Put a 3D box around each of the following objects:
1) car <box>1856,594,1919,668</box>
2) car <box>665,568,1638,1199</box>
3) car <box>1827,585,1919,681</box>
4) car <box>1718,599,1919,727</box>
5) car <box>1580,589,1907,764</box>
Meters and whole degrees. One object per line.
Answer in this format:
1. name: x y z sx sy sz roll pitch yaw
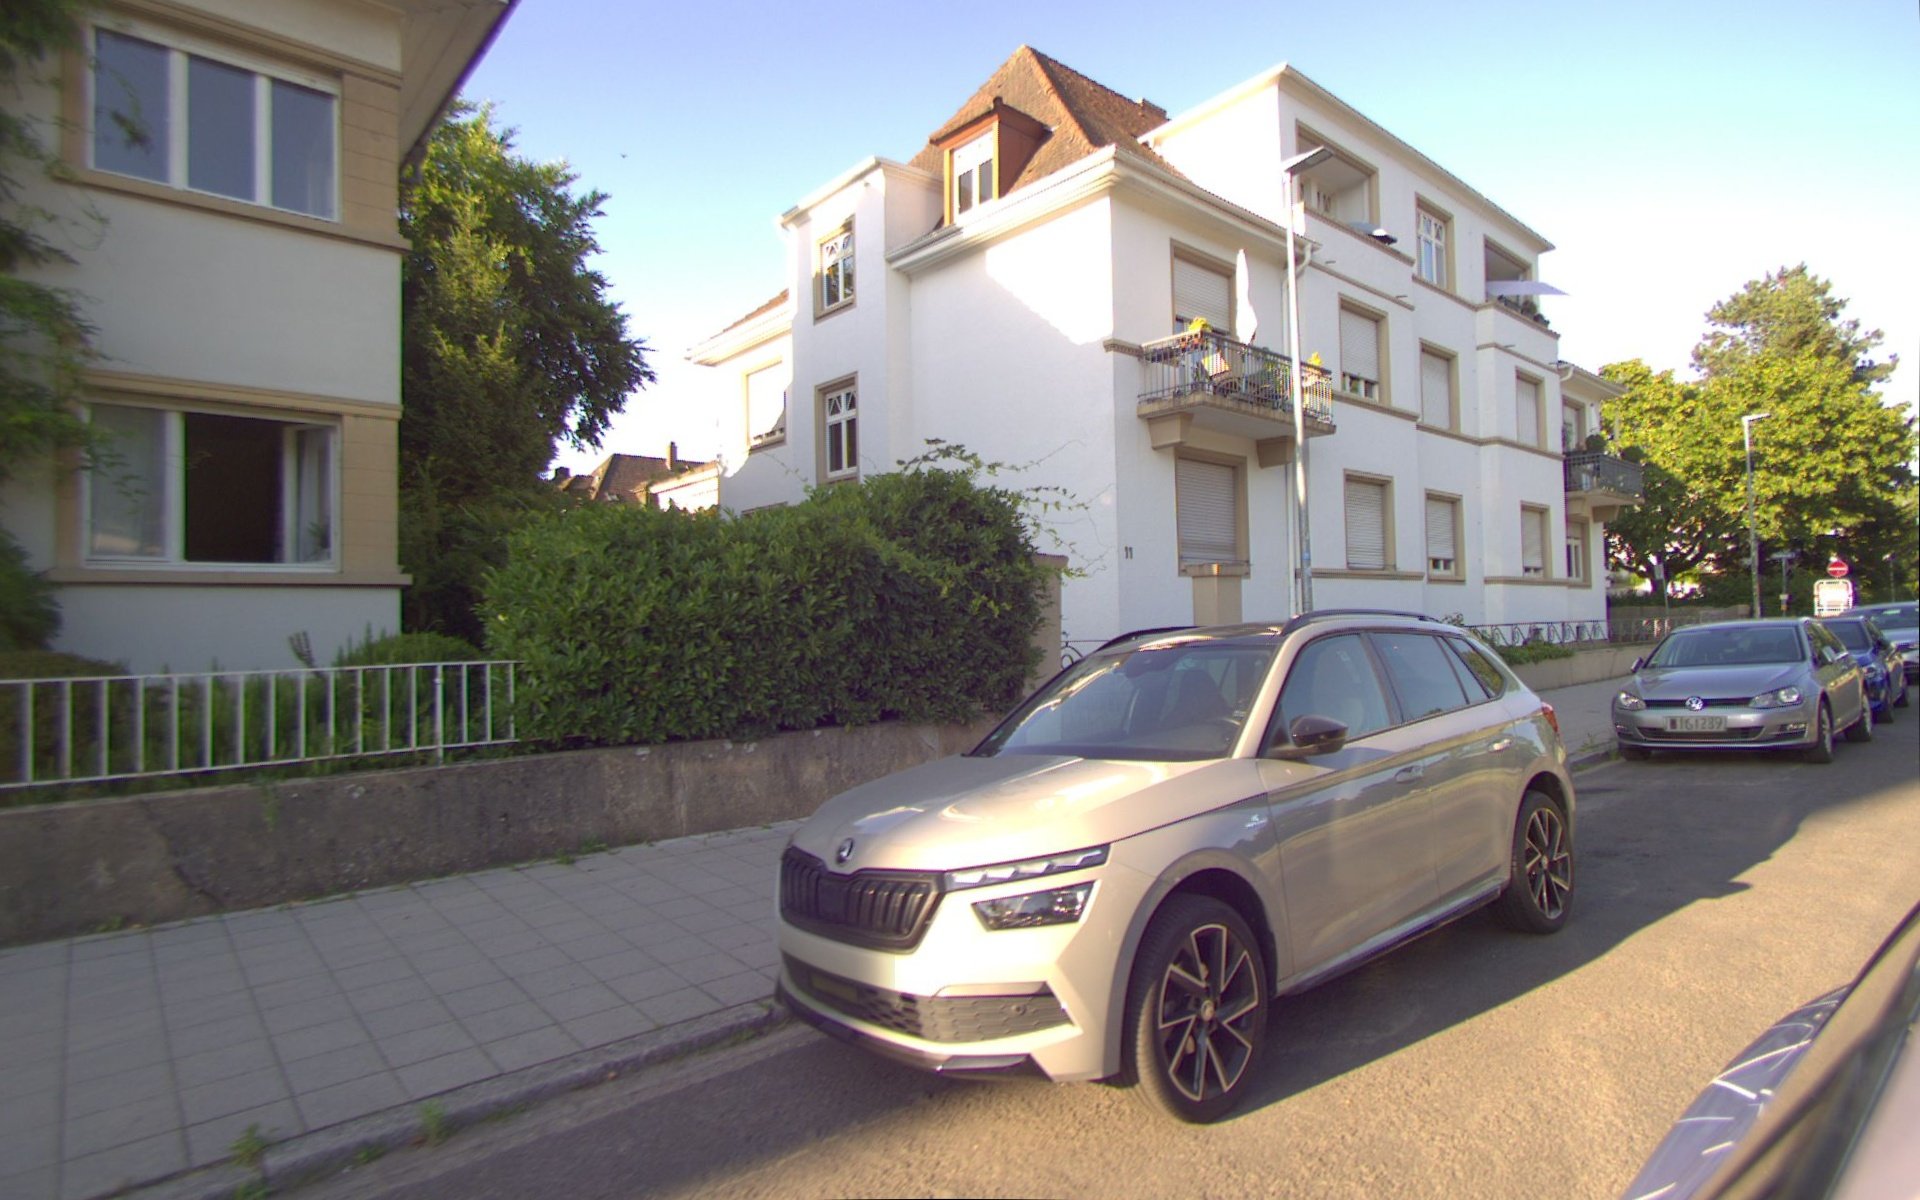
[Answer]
1. car: 23.477 0.639 24.485 4.509 1.554 1.878 -2 -6 -40
2. car: 1.169 0.751 4.598 4.383 1.556 1.886 -2 -4 -40
3. car: 19.265 0.580 20.579 4.508 1.670 1.802 -2 -6 -43
4. car: 12.737 0.865 14.781 4.231 1.454 1.763 -2 -7 -43
5. car: 8.864 0.806 11.311 4.486 1.580 1.913 1 -7 -41
